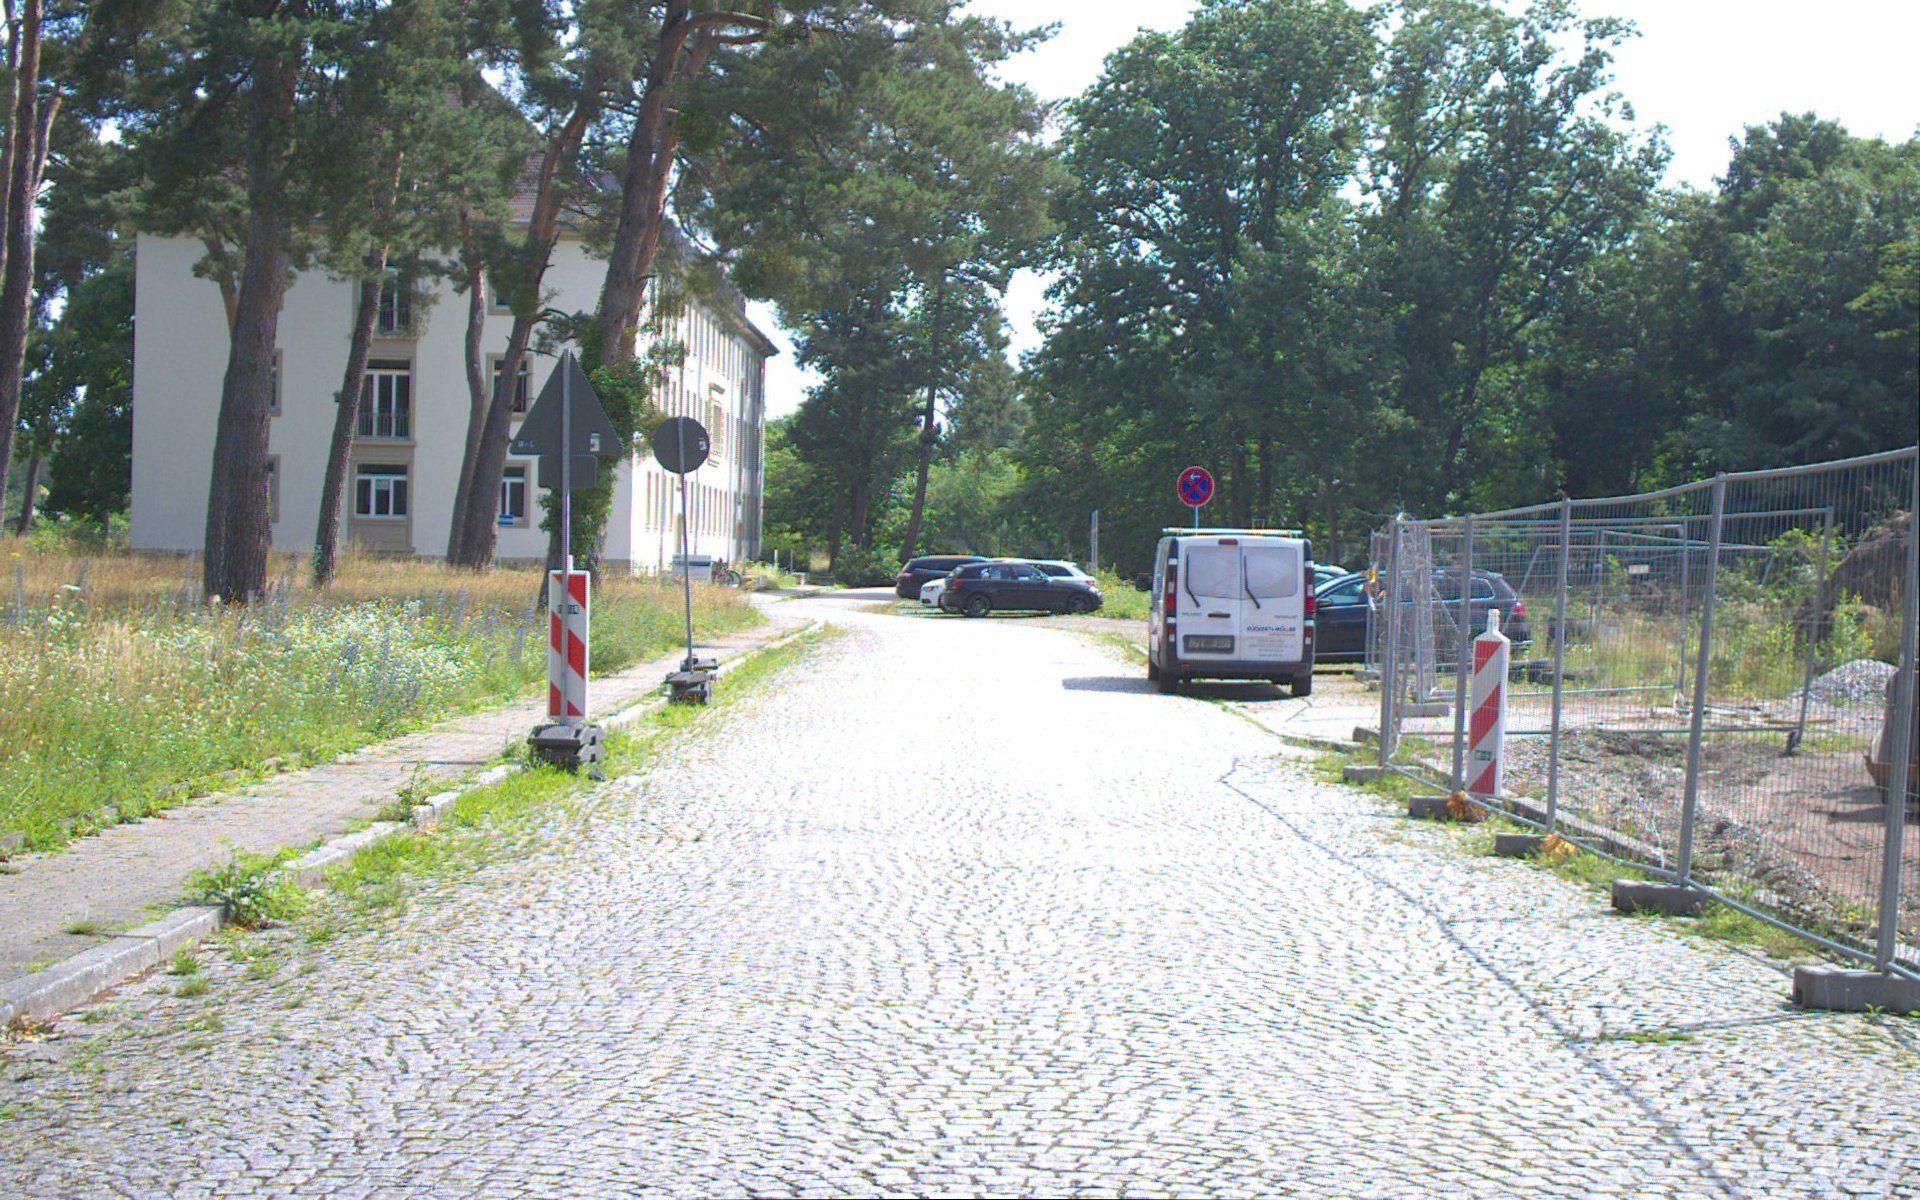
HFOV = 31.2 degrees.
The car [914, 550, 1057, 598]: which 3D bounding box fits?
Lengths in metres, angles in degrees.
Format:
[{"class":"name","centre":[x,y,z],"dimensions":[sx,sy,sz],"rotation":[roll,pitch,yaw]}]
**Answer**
[{"class":"car","centre":[0.765,-0.808,106.873],"dimensions":[4.398,1.479,1.766],"rotation":[0,0,-1]}]

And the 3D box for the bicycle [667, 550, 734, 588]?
[{"class":"bicycle","centre":[-8.955,-1.063,118.763],"dimensions":[2.222,1.256,0.623],"rotation":[1,0,3]}]

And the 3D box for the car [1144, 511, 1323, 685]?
[{"class":"car","centre":[3.401,-0.053,43.726],"dimensions":[1.914,2.046,5.678],"rotation":[1,1,1]}]

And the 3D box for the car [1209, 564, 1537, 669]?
[{"class":"car","centre":[5.929,0.220,49.644],"dimensions":[4.453,1.470,1.746],"rotation":[0,1,-4]}]

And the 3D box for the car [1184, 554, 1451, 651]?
[{"class":"car","centre":[5.619,0.027,54.315],"dimensions":[3.986,1.501,1.747],"rotation":[0,1,-2]}]

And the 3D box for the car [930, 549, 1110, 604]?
[{"class":"car","centre":[1.622,-0.660,94.204],"dimensions":[4.861,1.467,1.875],"rotation":[0,2,-1]}]

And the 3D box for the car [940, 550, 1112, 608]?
[{"class":"car","centre":[1.726,-0.568,91.136],"dimensions":[4.323,1.495,1.830],"rotation":[0,2,-8]}]

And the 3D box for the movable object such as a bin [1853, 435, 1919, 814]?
[{"class":"movable object such as a bin","centre":[8.273,0.121,24.902],"dimensions":[2.146,2.513,5.647],"rotation":[1,2,29]}]
